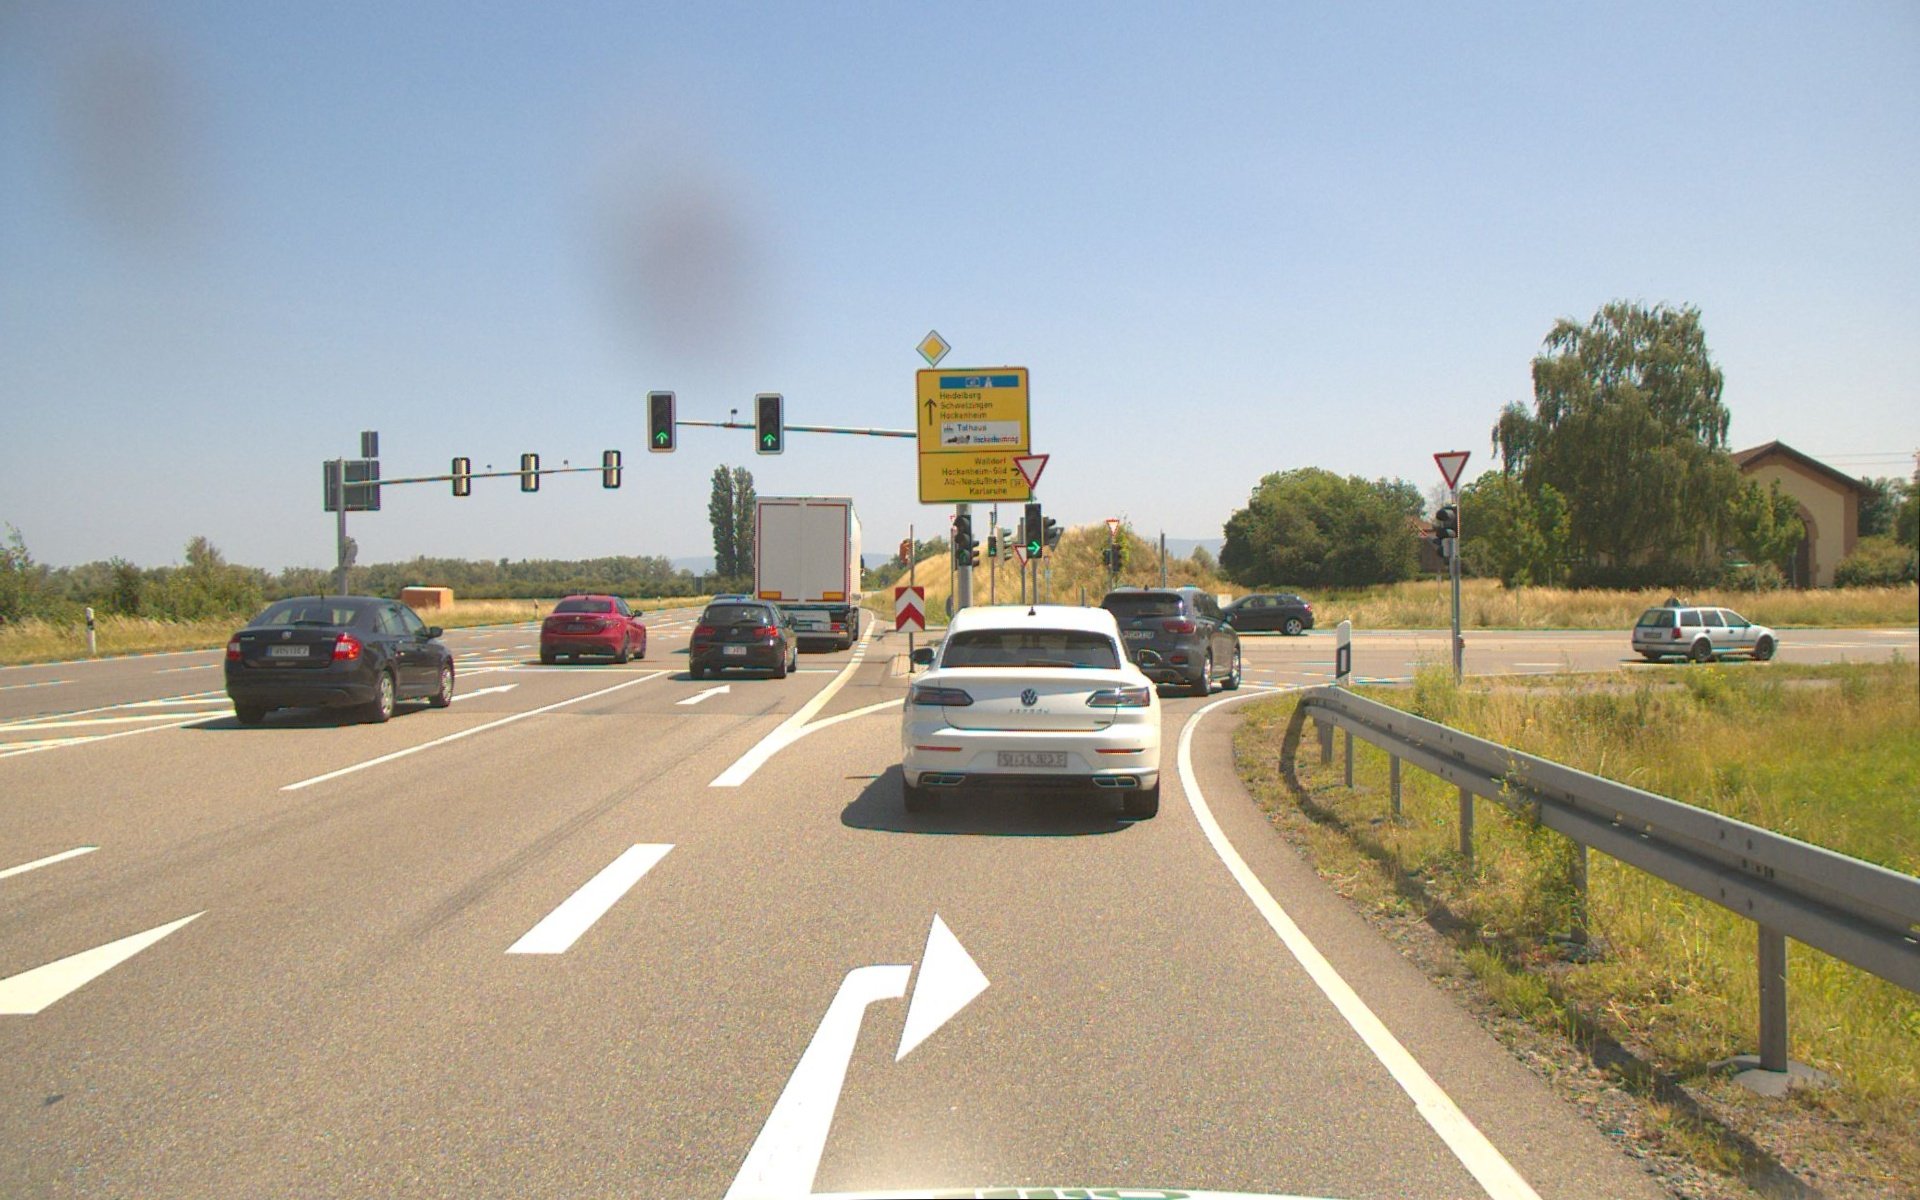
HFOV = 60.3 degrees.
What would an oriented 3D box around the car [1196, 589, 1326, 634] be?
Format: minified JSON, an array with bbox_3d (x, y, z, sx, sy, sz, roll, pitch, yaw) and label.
[{"bbox_3d":[10.394,0.395,57.286,4.172,1.392,1.777,-1,1,2],"label":"car"}]

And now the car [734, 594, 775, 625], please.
[{"bbox_3d":[-10.505,0.473,84.824,1.773,1.519,4.019,1,0,-3],"label":"car"}]

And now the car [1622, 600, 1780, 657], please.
[{"bbox_3d":[19.836,0.750,44.275,4.032,1.454,1.789,0,0,-28],"label":"car"}]

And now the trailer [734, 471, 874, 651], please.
[{"bbox_3d":[-4.353,-1.017,49.101,3.313,4.622,12.866,1,0,-2],"label":"trailer"}]

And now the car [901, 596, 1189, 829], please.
[{"bbox_3d":[0.559,0.718,12.719,1.810,1.458,4.608,0,0,0],"label":"car"}]

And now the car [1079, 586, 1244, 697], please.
[{"bbox_3d":[3.375,0.631,26.974,1.894,1.645,4.380,0,0,18],"label":"car"}]

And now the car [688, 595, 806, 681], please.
[{"bbox_3d":[-3.956,0.665,31.339,1.748,1.456,4.380,1,0,-1],"label":"car"}]

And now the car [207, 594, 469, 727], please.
[{"bbox_3d":[-7.425,0.671,20.229,1.641,1.436,4.465,0,0,-2],"label":"car"}]

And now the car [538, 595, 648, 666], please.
[{"bbox_3d":[-8.140,0.643,37.010,1.714,1.446,4.562,1,0,-4],"label":"car"}]

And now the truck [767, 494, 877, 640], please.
[{"bbox_3d":[-4.564,-1.057,56.103,3.312,4.622,6.370,1,0,-1],"label":"truck"}]
